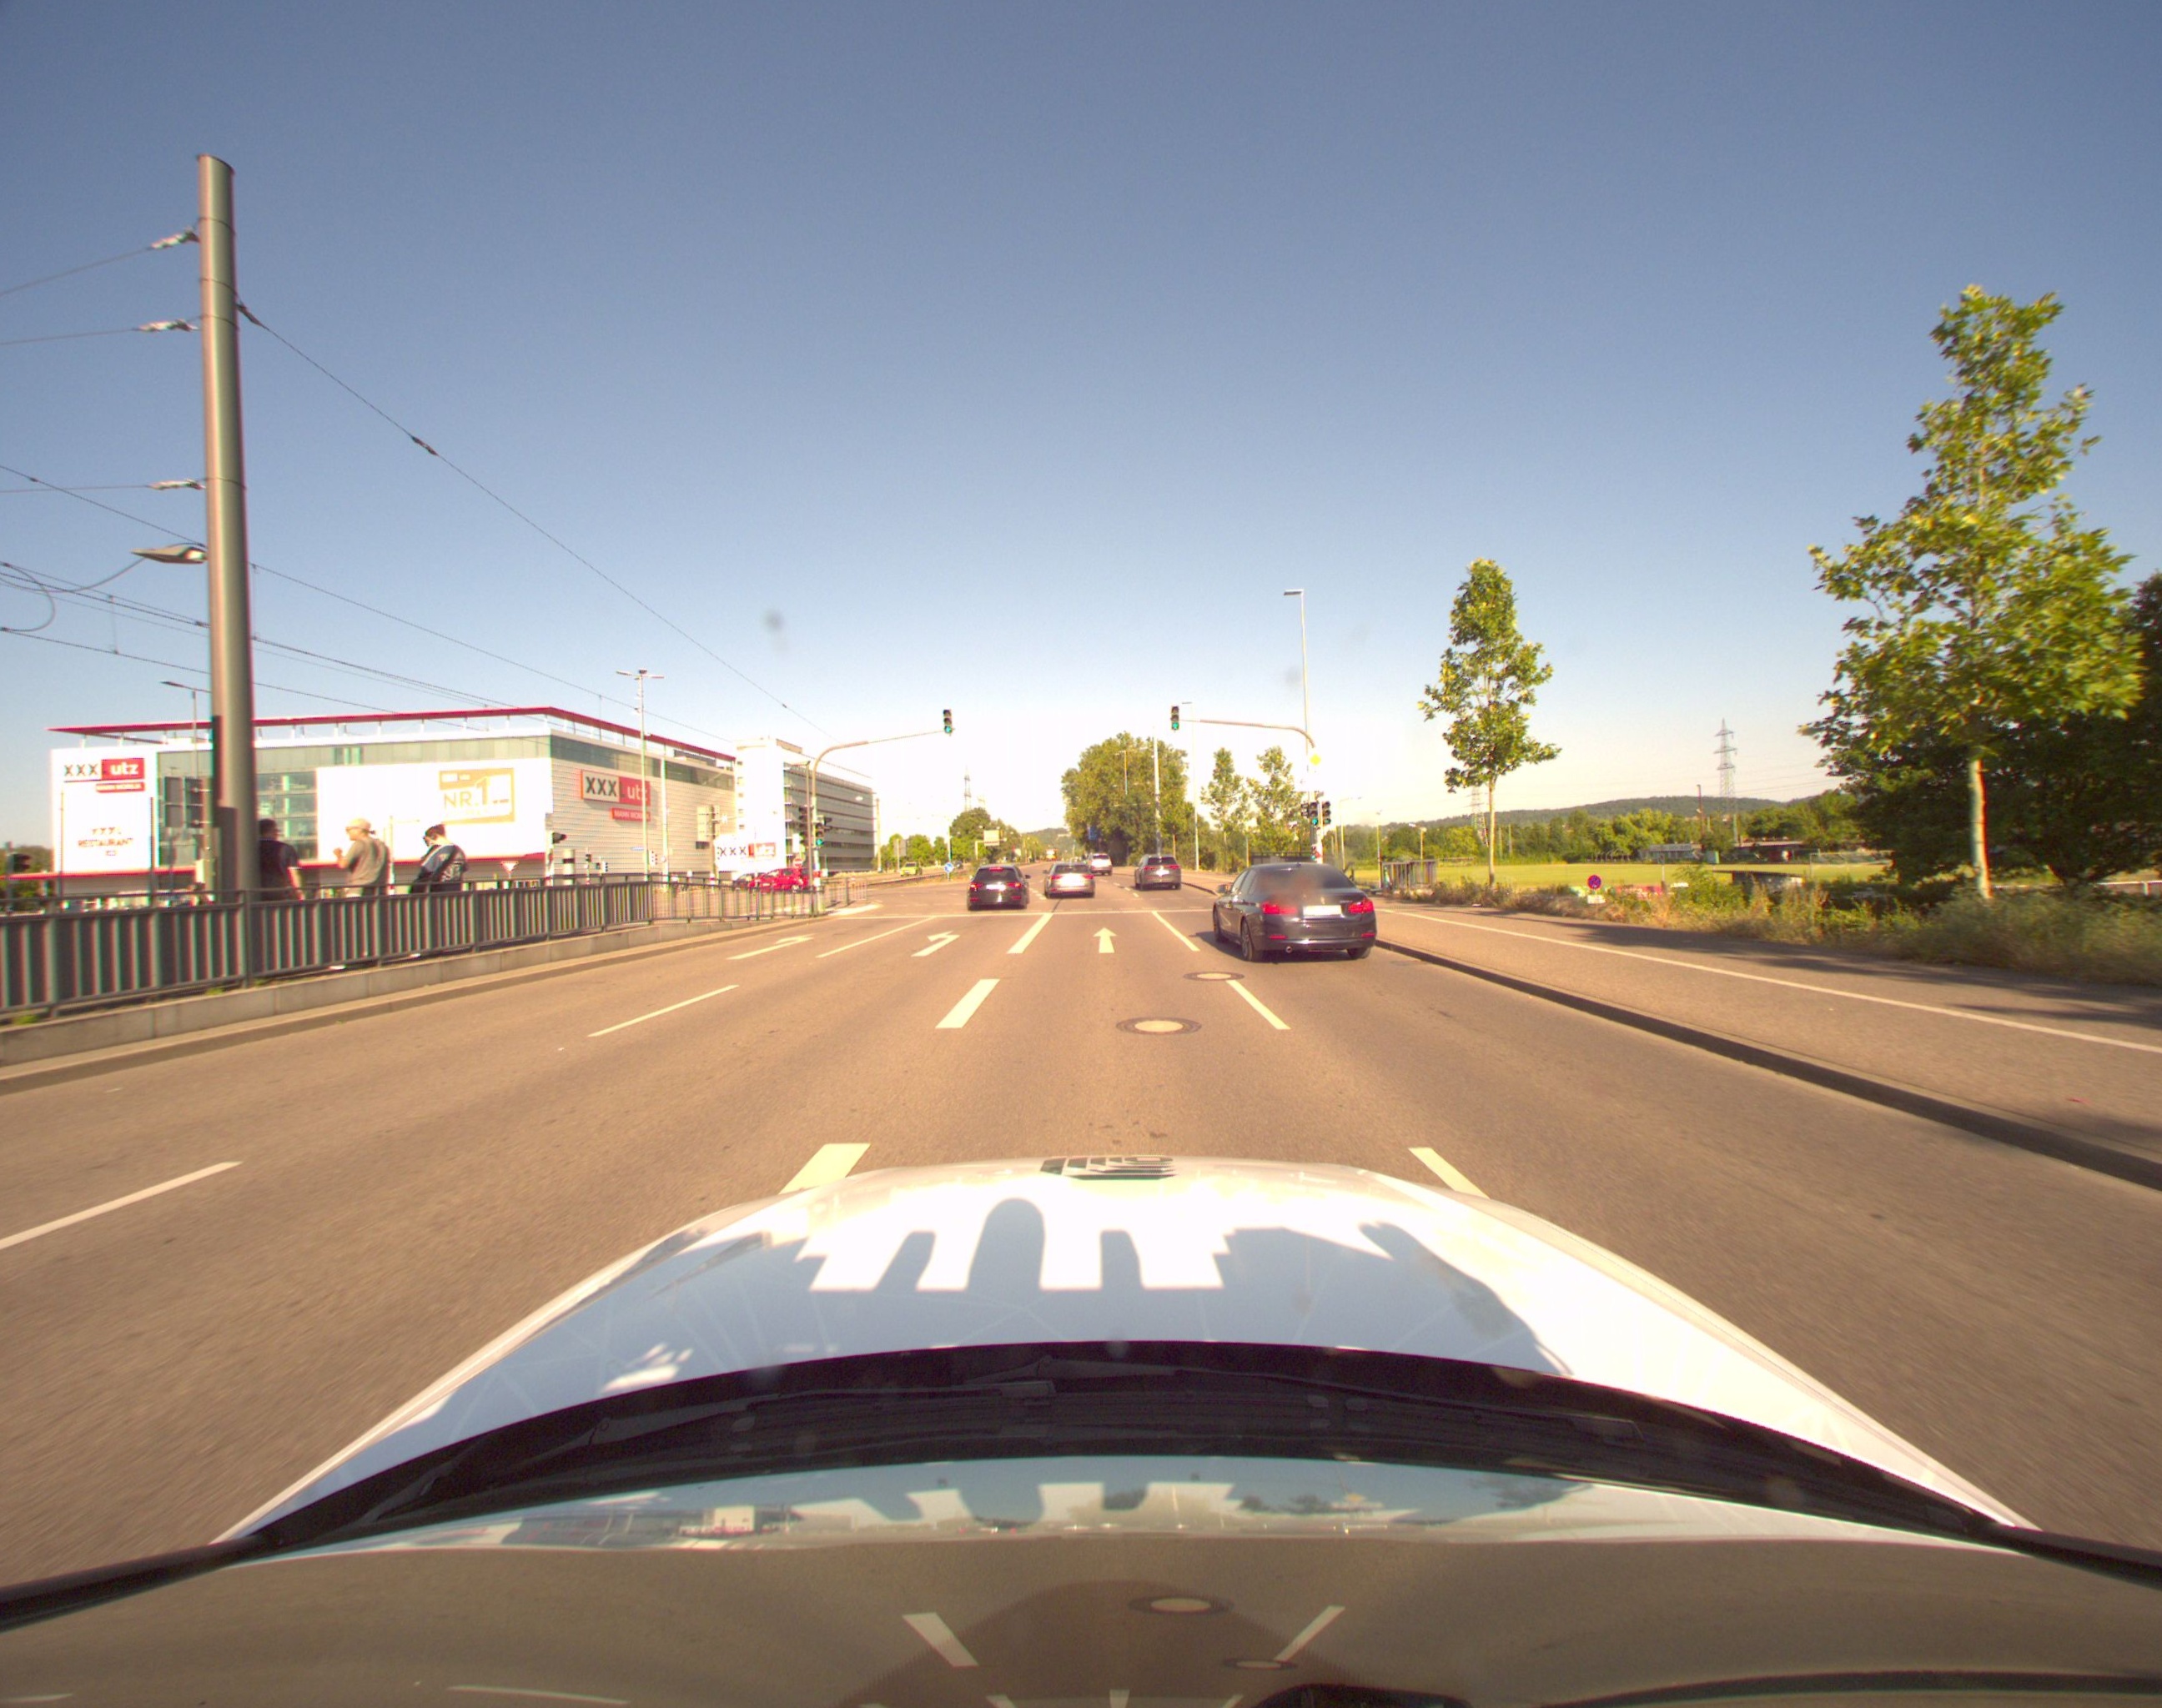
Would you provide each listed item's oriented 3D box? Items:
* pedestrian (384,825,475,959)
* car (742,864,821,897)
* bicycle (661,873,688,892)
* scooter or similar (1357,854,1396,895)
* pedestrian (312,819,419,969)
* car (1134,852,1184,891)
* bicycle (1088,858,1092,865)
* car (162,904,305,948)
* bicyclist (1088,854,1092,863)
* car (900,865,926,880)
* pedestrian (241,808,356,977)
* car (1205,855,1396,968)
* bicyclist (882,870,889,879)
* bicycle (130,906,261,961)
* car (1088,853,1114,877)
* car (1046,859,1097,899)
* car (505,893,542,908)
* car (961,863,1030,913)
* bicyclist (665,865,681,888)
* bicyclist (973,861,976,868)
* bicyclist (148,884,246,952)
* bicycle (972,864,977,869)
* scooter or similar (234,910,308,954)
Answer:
[{"bbox_3d":[-8.374,0.473,10.489,0.531,1.657,0.751,0,-1,3],"label":"pedestrian"},{"bbox_3d":[-16.507,1.444,44.930,3.553,1.460,1.776,-5,-1,9],"label":"car"},{"bbox_3d":[-26.750,1.860,53.591,0.584,1.168,1.995,0,0,7],"label":"bicycle"},{"bbox_3d":[9.384,0.651,25.927,0.524,1.231,1.261,-2,-1,-12],"label":"scooter or similar"},{"bbox_3d":[-8.361,0.452,9.546,0.531,1.693,0.761,0,-1,3],"label":"pedestrian"},{"bbox_3d":[3.542,0.770,37.652,1.838,1.661,4.439,-1,0,0],"label":"car"},{"bbox_3d":[1.502,1.308,137.656,0.620,1.120,1.813,-3,0,0],"label":"bicycle"},{"bbox_3d":[-38.765,3.270,37.336,4.233,1.498,2.014,-5,-1,-2],"label":"car"},{"bbox_3d":[1.487,0.830,138.010,0.683,1.509,0.891,-2,0,0],"label":"bicyclist"},{"bbox_3d":[-18.246,1.950,88.473,1.777,1.447,4.109,-4,0,1],"label":"car"},{"bbox_3d":[-8.474,0.406,8.836,0.703,1.775,0.536,0,-1,5],"label":"pedestrian"},{"bbox_3d":[3.261,0.798,13.085,1.859,1.467,4.586,-1,-1,1],"label":"car"},{"bbox_3d":[-31.466,3.263,131.077,0.701,1.512,0.972,0,0,7],"label":"bicyclist"},{"bbox_3d":[-22.546,2.008,20.772,2.272,1.218,0.712,-3,-2,-10],"label":"bicycle"},{"bbox_3d":[1.508,0.809,62.715,1.877,1.796,3.999,0,0,0],"label":"car"},{"bbox_3d":[-0.467,0.965,33.063,1.862,1.467,4.660,-1,0,-3],"label":"car"},{"bbox_3d":[-74.292,6.188,108.552,1.915,1.702,4.447,0,0,0],"label":"car"},{"bbox_3d":[-2.731,1.057,26.958,1.910,1.458,4.089,-1,-1,-1],"label":"car"},{"bbox_3d":[-26.768,1.484,53.456,0.585,1.522,0.752,0,0,6],"label":"bicyclist"},{"bbox_3d":[-25.277,2.583,193.471,0.657,1.623,0.803,0,0,10],"label":"bicyclist"},{"bbox_3d":[-22.546,1.603,20.795,1.481,1.617,0.820,-3,-2,-10],"label":"bicyclist"},{"bbox_3d":[-25.259,2.968,193.576,0.657,1.151,2.027,0,0,10],"label":"bicycle"},{"bbox_3d":[-20.896,2.009,21.026,1.063,1.015,0.786,-3,-2,-10],"label":"scooter or similar"}]
